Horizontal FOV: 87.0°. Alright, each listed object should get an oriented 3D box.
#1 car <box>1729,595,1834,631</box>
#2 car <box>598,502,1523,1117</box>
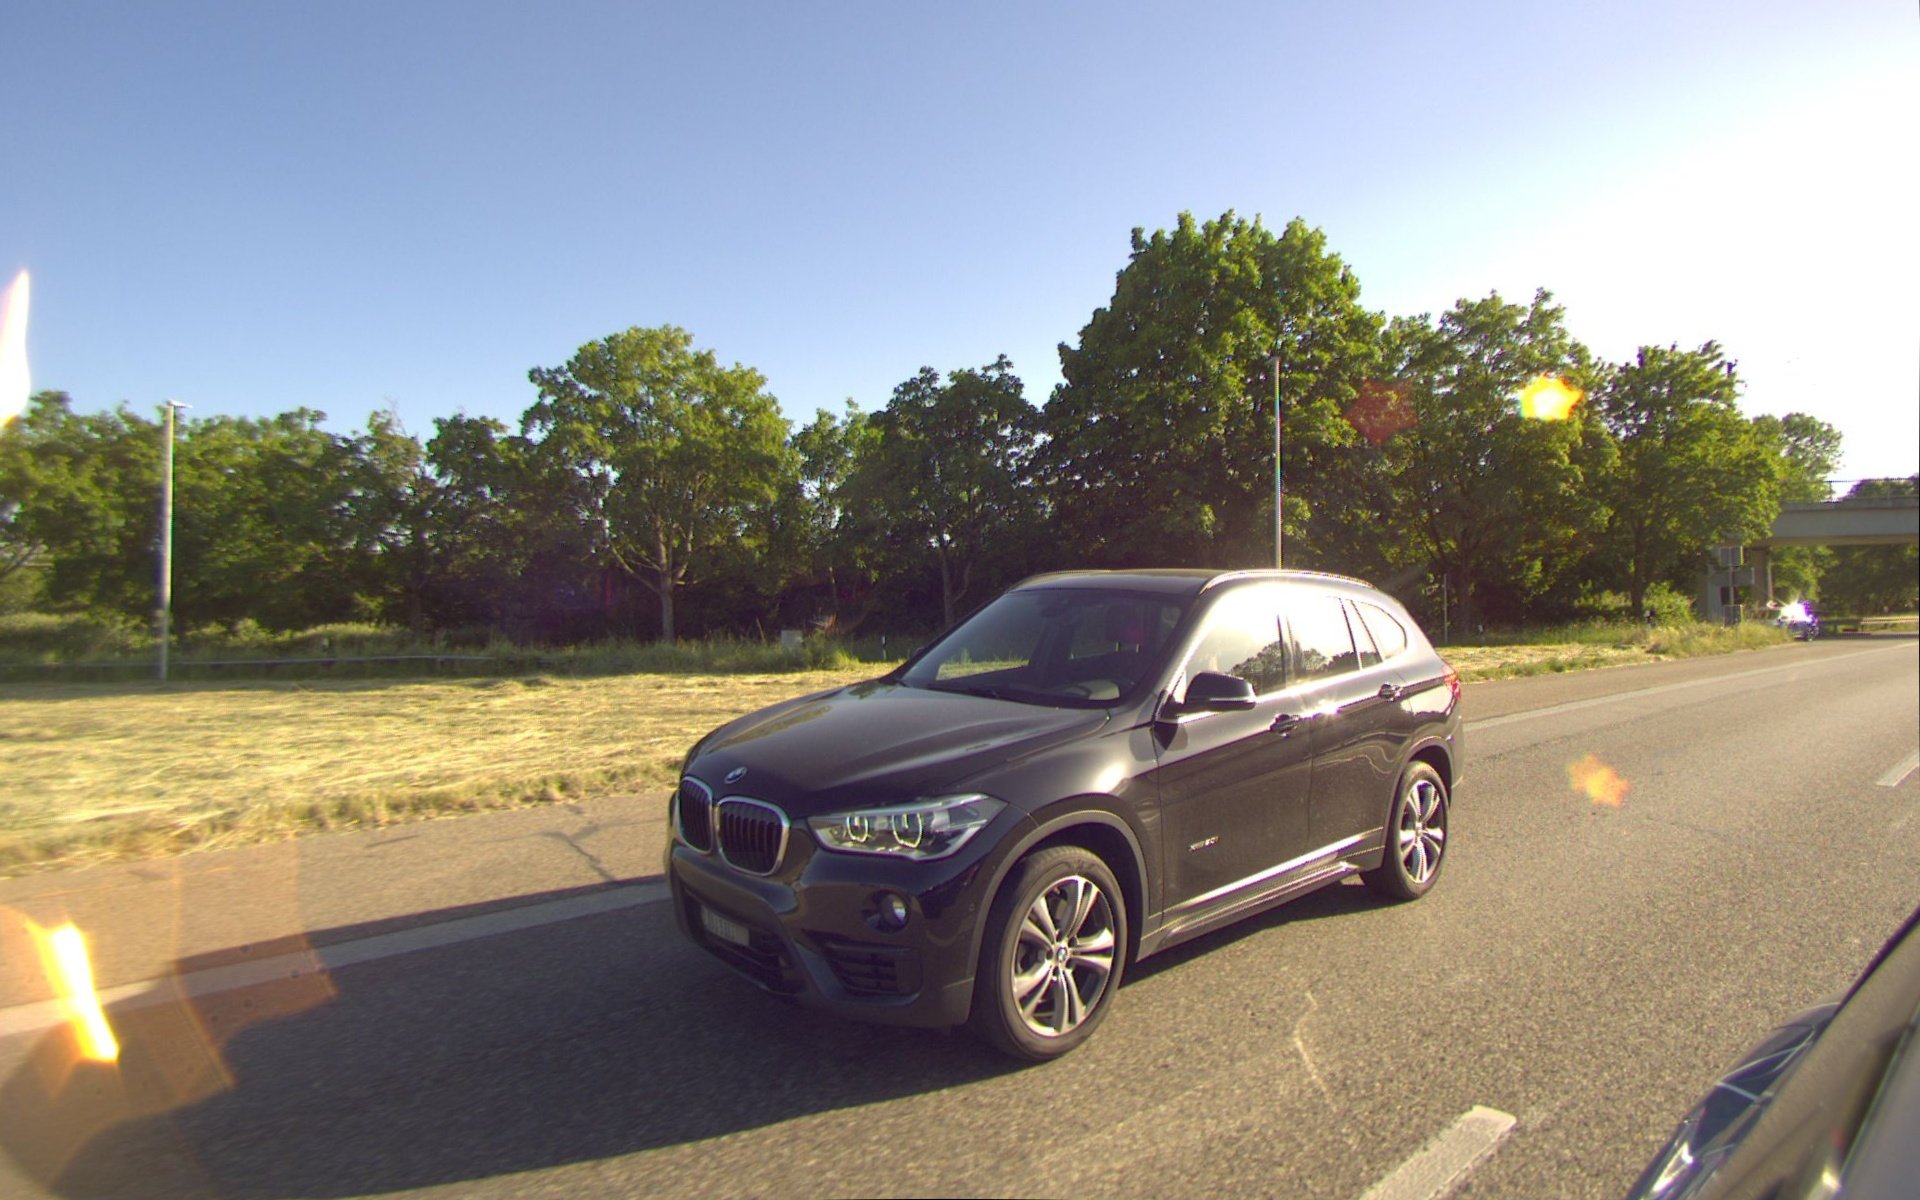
[{"bbox_3d":[33.558,0.513,41.334,3.971,1.427,1.767,0,-1,-25],"label":"car"},{"bbox_3d":[0.821,0.587,4.778,4.441,1.593,1.757,0,-3,-41],"label":"car"}]
